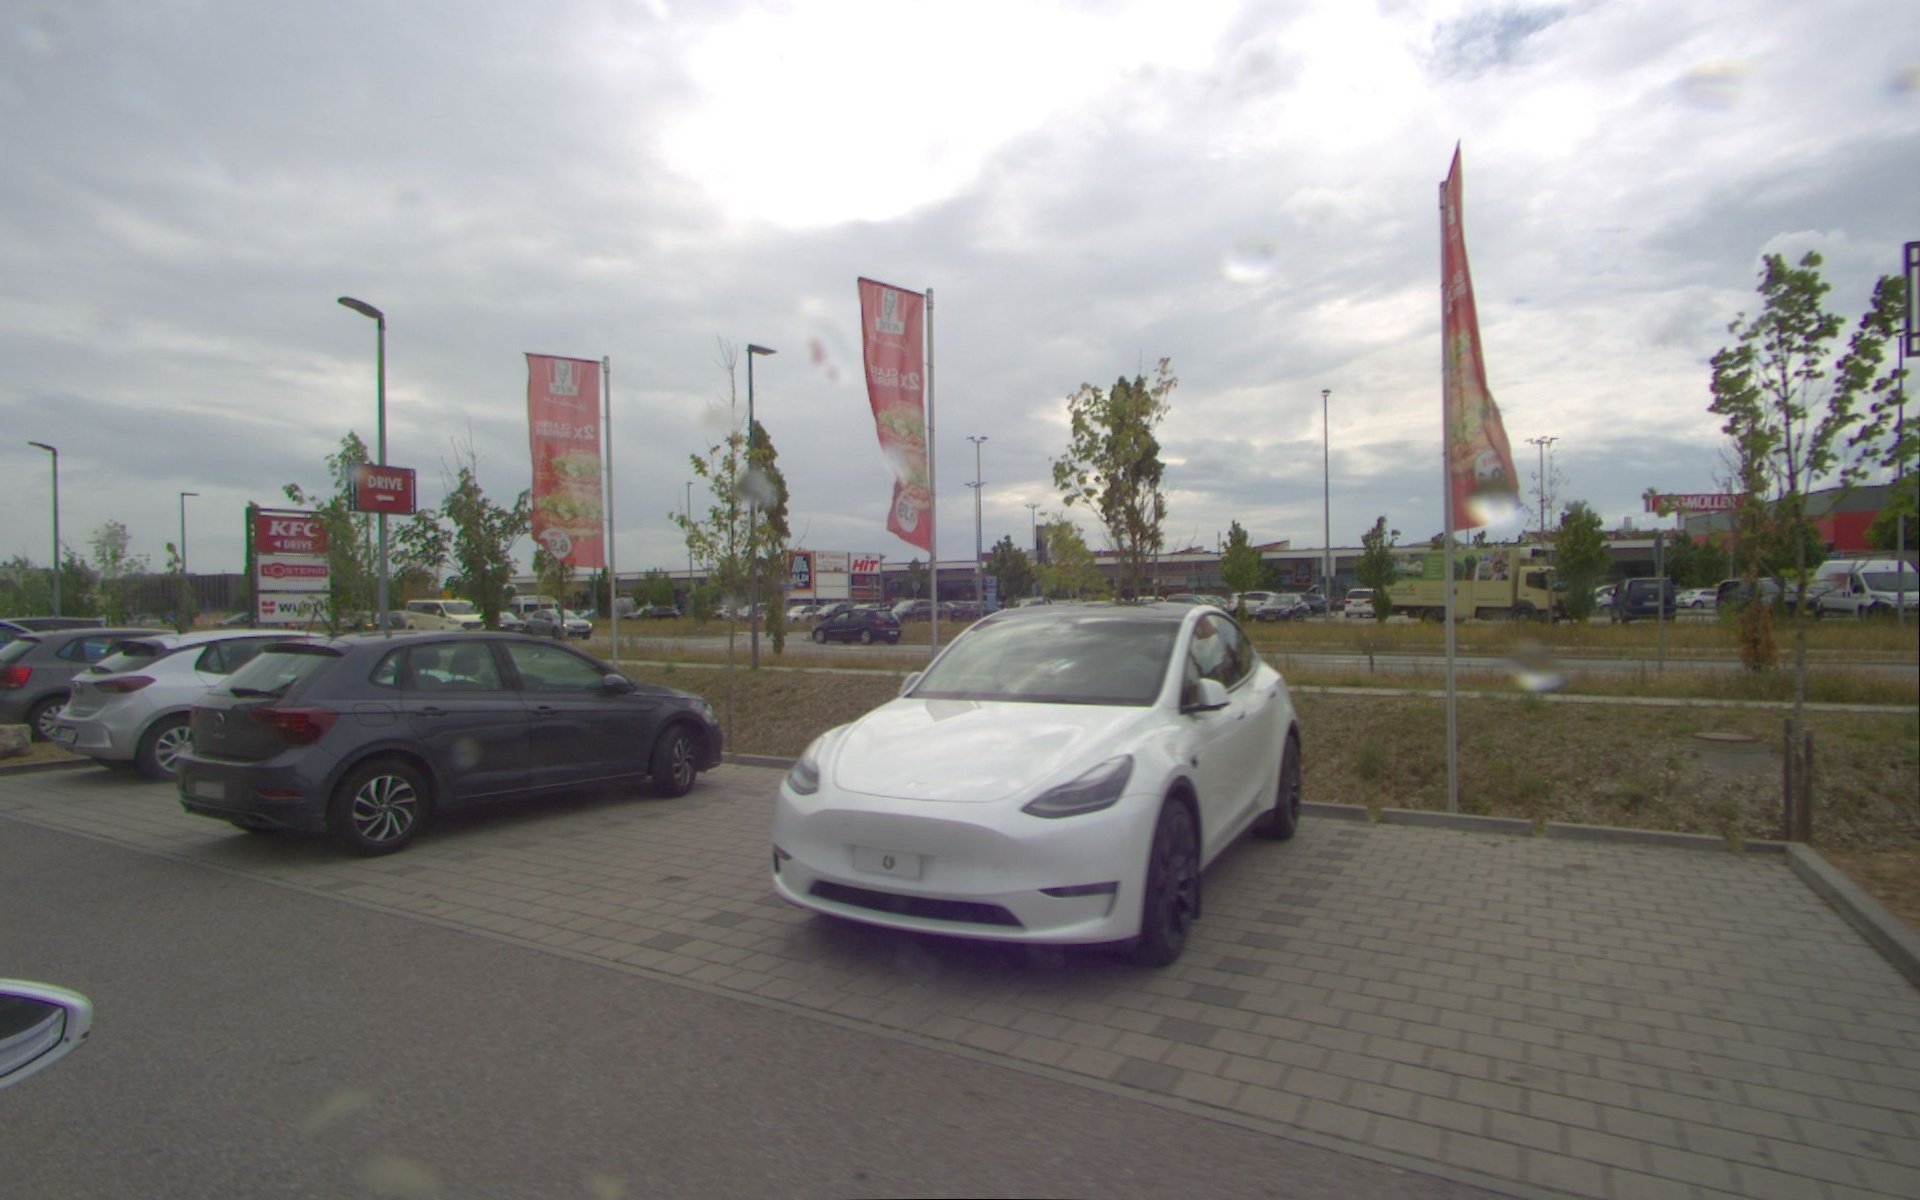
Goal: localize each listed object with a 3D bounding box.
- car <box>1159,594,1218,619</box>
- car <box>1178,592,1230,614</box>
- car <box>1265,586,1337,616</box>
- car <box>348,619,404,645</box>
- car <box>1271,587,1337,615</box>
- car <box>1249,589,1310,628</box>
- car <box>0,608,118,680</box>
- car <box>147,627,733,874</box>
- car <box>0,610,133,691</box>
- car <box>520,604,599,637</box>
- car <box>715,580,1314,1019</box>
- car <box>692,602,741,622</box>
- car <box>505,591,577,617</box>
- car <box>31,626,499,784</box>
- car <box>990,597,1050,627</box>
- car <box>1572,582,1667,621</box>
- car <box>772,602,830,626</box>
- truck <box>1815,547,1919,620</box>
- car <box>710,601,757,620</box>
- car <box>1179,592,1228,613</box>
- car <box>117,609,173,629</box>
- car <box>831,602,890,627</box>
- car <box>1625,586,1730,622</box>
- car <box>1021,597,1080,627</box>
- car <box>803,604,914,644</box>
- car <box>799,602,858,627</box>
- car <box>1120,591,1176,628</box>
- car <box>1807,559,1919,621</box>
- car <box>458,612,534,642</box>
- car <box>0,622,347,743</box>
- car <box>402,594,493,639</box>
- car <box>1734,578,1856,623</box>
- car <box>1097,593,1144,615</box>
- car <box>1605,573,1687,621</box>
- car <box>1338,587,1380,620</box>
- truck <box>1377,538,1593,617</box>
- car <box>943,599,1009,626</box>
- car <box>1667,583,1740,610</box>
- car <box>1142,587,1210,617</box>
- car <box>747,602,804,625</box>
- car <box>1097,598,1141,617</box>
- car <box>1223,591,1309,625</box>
[{"bbox_3d":[17.261,0.480,75.712,4.115,1.863,1.994,0,1,22],"label":"car"},{"bbox_3d":[21.028,0.238,86.418,4.115,1.863,1.994,0,1,22],"label":"car"},{"bbox_3d":[21.590,0.091,63.526,4.245,1.796,1.995,-1,1,20],"label":"car"},{"bbox_3d":[-31.619,1.708,54.203,3.121,1.354,1.457,0,0,36],"label":"car"},{"bbox_3d":[23.543,0.042,68.540,4.247,1.796,1.994,-1,1,21],"label":"car"},{"bbox_3d":[15.886,0.392,49.656,1.903,1.796,4.297,0,1,32],"label":"car"},{"bbox_3d":[-20.940,0.946,21.575,1.754,1.479,4.043,1,1,40],"label":"car"},{"bbox_3d":[-3.770,0.954,7.926,1.713,1.430,3.791,0,-2,31],"label":"car"},{"bbox_3d":[-19.152,0.971,19.689,1.841,1.565,4.186,0,0,38],"label":"car"},{"bbox_3d":[-19.311,0.982,48.239,3.951,1.479,1.816,0,1,39],"label":"car"},{"bbox_3d":[0.797,0.794,6.025,1.896,1.560,4.530,0,-2,28],"label":"car"},{"bbox_3d":[-23.663,1.121,97.368,4.111,1.863,1.996,-1,1,17],"label":"car"},{"bbox_3d":[-37.497,0.361,89.753,2.311,2.150,5.555,0,1,38],"label":"car"},{"bbox_3d":[-7.515,1.029,11.211,1.814,1.430,3.919,0,-2,33],"label":"car"},{"bbox_3d":[3.549,0.685,58.662,1.746,1.560,4.032,0,1,32],"label":"car"},{"bbox_3d":[36.403,0.061,55.382,3.925,2.041,1.998,-1,1,12],"label":"car"},{"bbox_3d":[-11.297,0.992,71.472,1.838,1.521,4.050,0,1,33],"label":"car"},{"bbox_3d":[51.350,-0.939,55.827,2.609,3.794,8.238,-1,1,18],"label":"truck"},{"bbox_3d":[-22.628,1.058,100.054,4.113,1.863,1.995,-1,1,19],"label":"car"},{"bbox_3d":[22.250,0.213,91.478,4.115,1.863,1.994,0,1,22],"label":"car"},{"bbox_3d":[-68.574,1.629,84.223,4.776,1.573,1.795,-1,1,26],"label":"car"},{"bbox_3d":[-6.637,0.961,67.312,1.970,1.560,4.035,-1,1,29],"label":"car"},{"bbox_3d":[36.370,0.191,50.874,3.930,1.762,1.886,-1,1,19],"label":"car"},{"bbox_3d":[5.177,0.676,56.966,1.746,1.560,4.032,0,1,32],"label":"car"},{"bbox_3d":[-4.174,0.959,40.947,4.363,1.506,1.917,-1,1,37],"label":"car"},{"bbox_3d":[-9.034,0.987,68.995,1.970,1.560,4.035,-1,1,29],"label":"car"},{"bbox_3d":[10.155,0.484,53.835,1.967,1.796,4.306,-1,1,24],"label":"car"},{"bbox_3d":[35.903,-0.434,39.004,2.373,2.244,6.045,0,1,19],"label":"car"},{"bbox_3d":[-24.232,1.378,52.290,4.229,1.519,1.844,-1,0,37],"label":"car"},{"bbox_3d":[-11.200,1.060,14.170,1.705,1.447,3.976,0,-2,36],"label":"car"},{"bbox_3d":[-25.256,0.748,49.268,5.164,2.114,1.985,0,1,38],"label":"car"},{"bbox_3d":[33.145,-0.023,39.950,2.041,1.661,5.058,0,1,19],"label":"car"},{"bbox_3d":[12.262,0.306,76.368,1.972,1.560,4.135,0,1,33],"label":"car"},{"bbox_3d":[29.153,-0.104,42.721,2.044,1.909,5.054,0,0,25],"label":"car"},{"bbox_3d":[23.359,0.177,58.513,1.968,1.796,3.984,-1,1,26],"label":"car"},{"bbox_3d":[23.602,-0.962,45.569,2.988,3.239,8.380,-2,1,-33],"label":"truck"},{"bbox_3d":[1.030,0.750,62.730,1.977,1.560,4.124,0,1,41],"label":"car"},{"bbox_3d":[54.334,-0.234,73.252,3.932,1.863,1.994,-1,1,22],"label":"car"},{"bbox_3d":[14.113,0.121,65.385,4.115,1.863,1.994,0,1,22],"label":"car"},{"bbox_3d":[-13.424,0.955,73.046,1.879,1.560,4.035,-1,1,29],"label":"car"},{"bbox_3d":[16.487,0.746,103.741,4.115,1.863,1.994,0,1,22],"label":"car"},{"bbox_3d":[16.859,0.444,55.211,4.254,1.796,1.913,-1,1,29],"label":"car"}]
